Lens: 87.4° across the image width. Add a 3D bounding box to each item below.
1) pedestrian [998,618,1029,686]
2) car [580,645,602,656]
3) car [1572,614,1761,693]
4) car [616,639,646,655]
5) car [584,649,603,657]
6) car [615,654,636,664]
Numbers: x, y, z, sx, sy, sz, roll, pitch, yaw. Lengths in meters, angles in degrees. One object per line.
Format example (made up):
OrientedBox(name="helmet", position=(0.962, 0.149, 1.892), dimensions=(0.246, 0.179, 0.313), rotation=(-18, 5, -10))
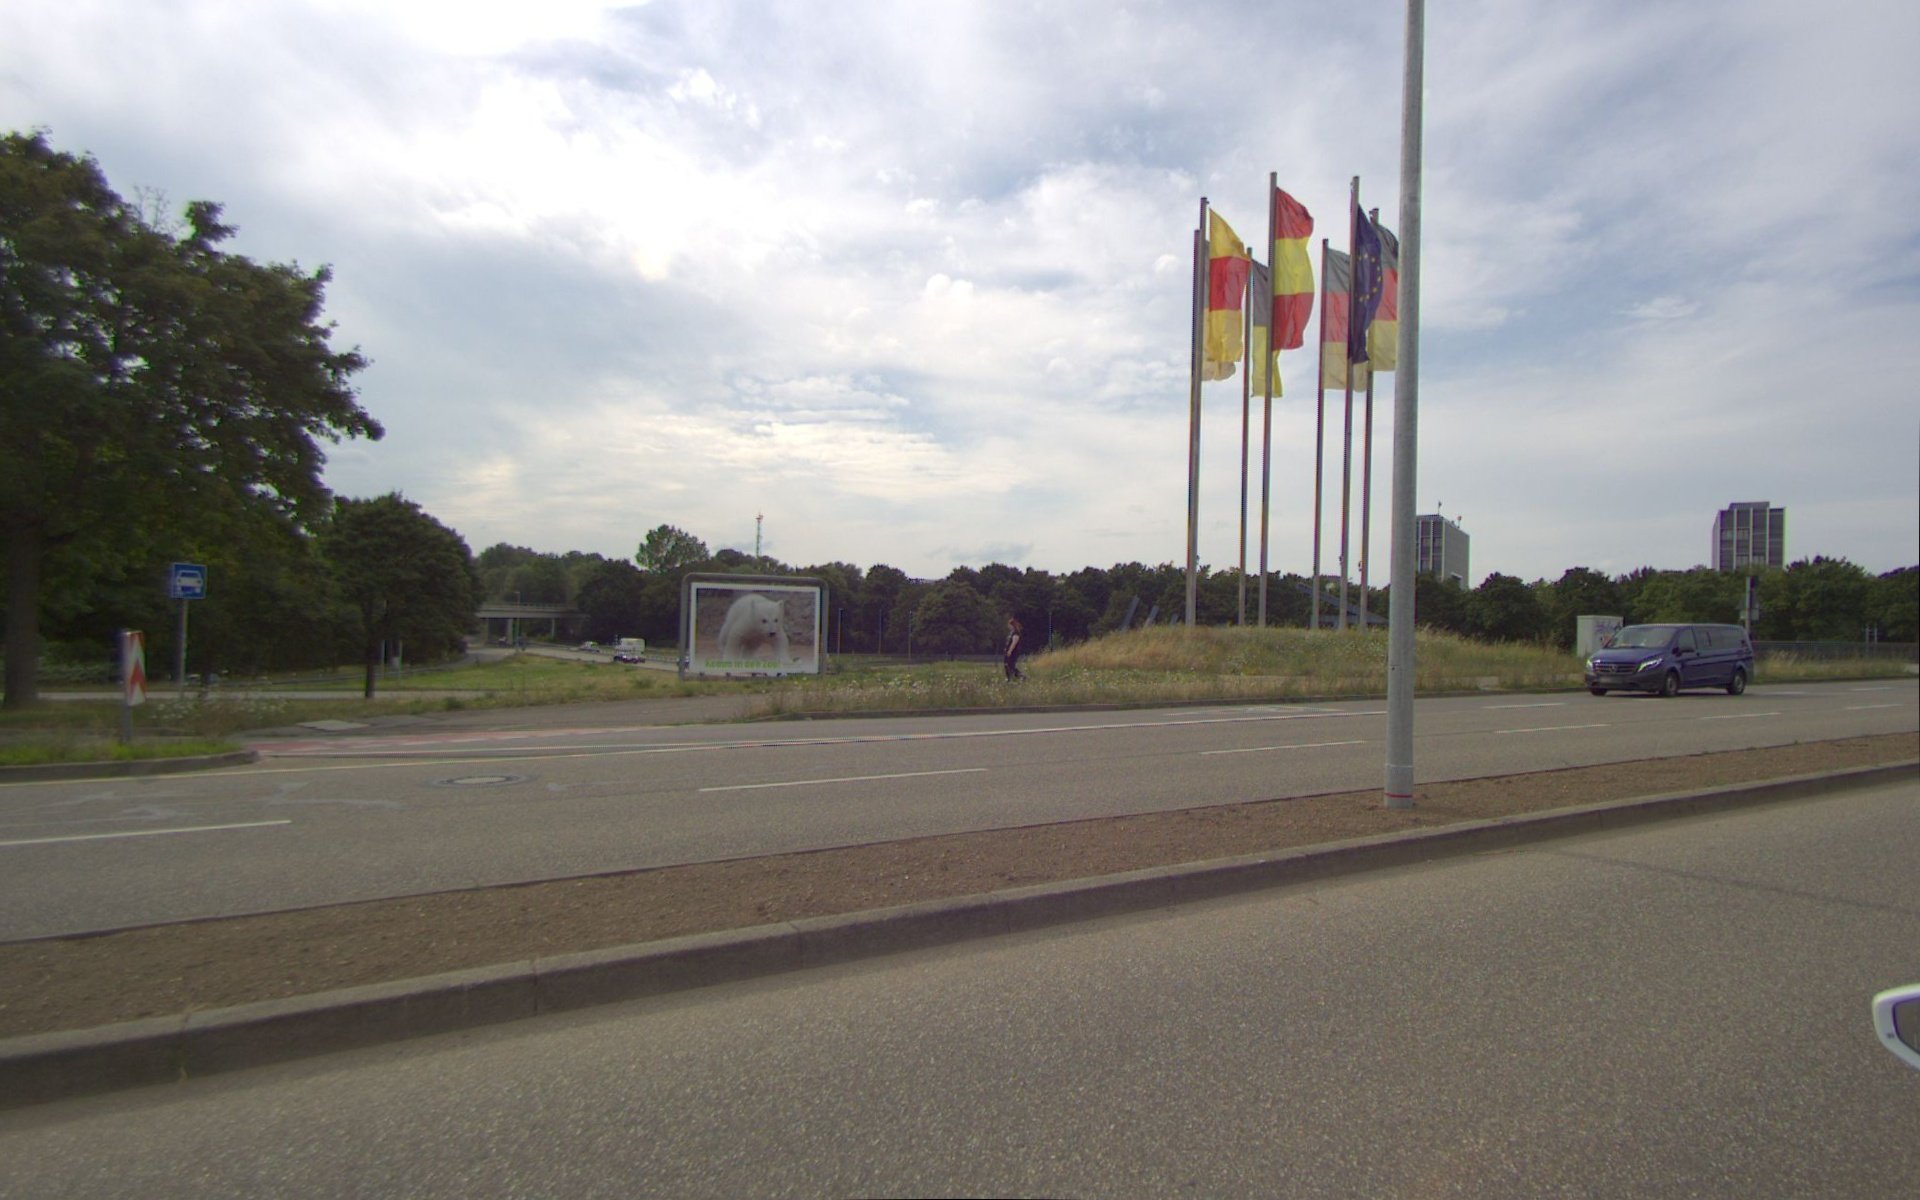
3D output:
OrientedBox(name="pedestrian", position=(1.383, 1.333, 25.924), dimensions=(0.665, 1.715, 0.869), rotation=(-1, -2, 13))
OrientedBox(name="car", position=(-60.984, 8.273, 165.977), dimensions=(3.940, 1.773, 1.795), rotation=(-1, -2, 40))
OrientedBox(name="car", position=(18.659, 1.395, 26.462), dimensions=(5.437, 1.918, 1.840), rotation=(1, -3, -29))
OrientedBox(name="car", position=(-53.859, 7.664, 164.468), dimensions=(5.763, 2.411, 1.982), rotation=(-1, -2, 40))
OrientedBox(name="car", position=(-56.884, 8.196, 155.888), dimensions=(3.304, 1.237, 1.256), rotation=(-1, -2, 40))
OrientedBox(name="car", position=(-47.708, 8.418, 143.348), dimensions=(3.304, 1.237, 1.256), rotation=(-1, -2, 40))
